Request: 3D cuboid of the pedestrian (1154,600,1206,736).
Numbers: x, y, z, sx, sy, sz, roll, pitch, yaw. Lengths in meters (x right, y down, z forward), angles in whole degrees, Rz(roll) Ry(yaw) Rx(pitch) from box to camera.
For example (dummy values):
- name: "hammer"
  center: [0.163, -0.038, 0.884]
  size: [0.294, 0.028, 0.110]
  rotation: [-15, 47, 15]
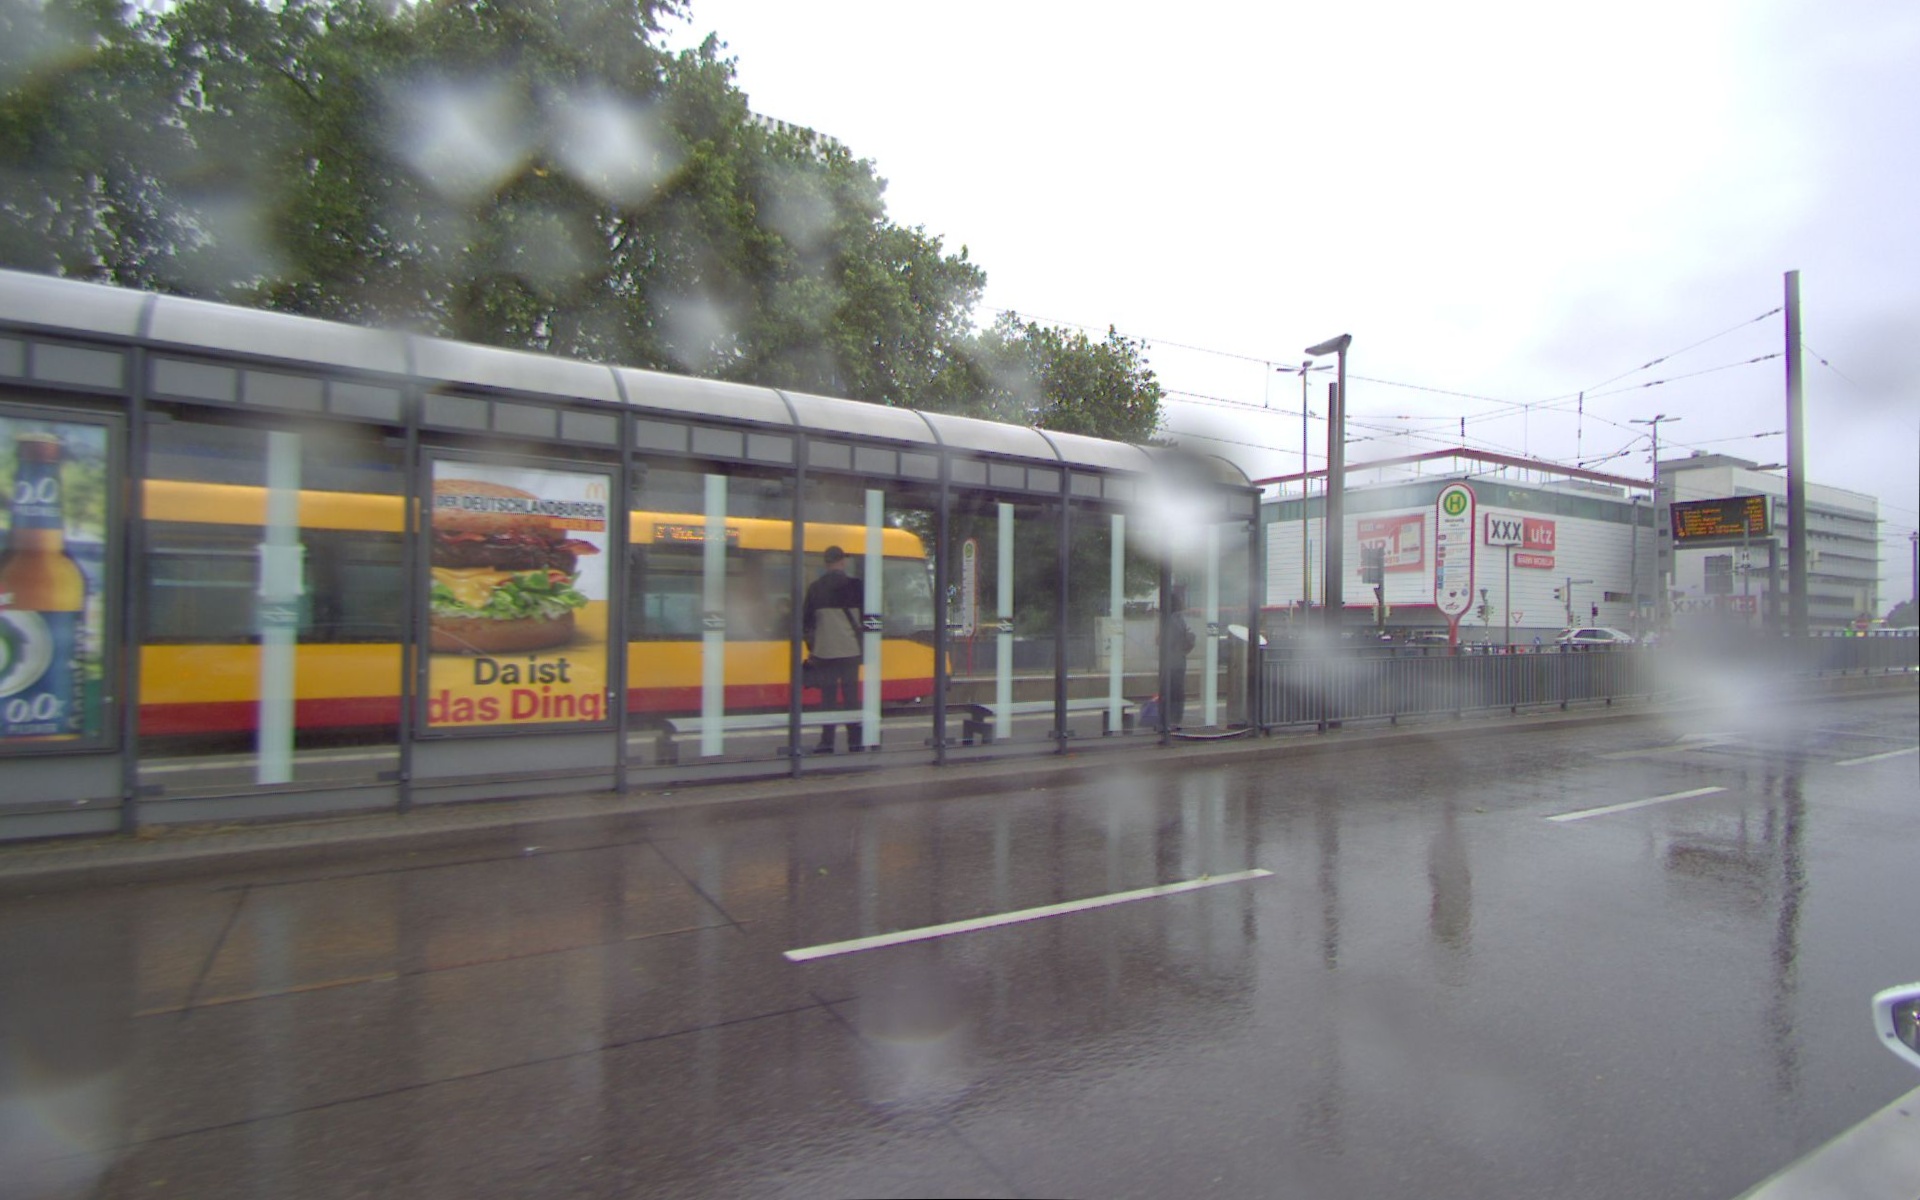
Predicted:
- name: "pedestrian"
  center: [2.512, 0.770, 11.473]
  size: [0.410, 1.513, 0.320]
  rotation: [2, 0, -27]

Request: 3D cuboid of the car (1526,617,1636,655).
- name: "car"
  center: [32.134, 1.826, 52.069]
  size: [1.938, 1.684, 4.411]
  rotation: [3, 0, -40]

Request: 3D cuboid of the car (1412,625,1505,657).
- name: "car"
  center: [26.710, 2.170, 53.912]
  size: [1.700, 1.470, 4.158]
  rotation: [3, 0, -35]

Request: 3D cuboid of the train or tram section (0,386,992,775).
- name: "train or tram section"
  center: [-5.974, -0.060, 14.720]
  size: [13.116, 3.890, 3.718]
  rotation: [2, 0, -34]

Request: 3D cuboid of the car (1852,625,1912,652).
- name: "car"
  center: [55.666, 2.311, 60.637]
  size: [3.768, 1.445, 1.701]
  rotation: [3, 0, -33]

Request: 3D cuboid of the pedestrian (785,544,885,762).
- name: "pedestrian"
  center: [-1.153, 0.474, 9.165]
  size: [0.759, 1.896, 0.654]
  rotation: [2, 0, -17]
